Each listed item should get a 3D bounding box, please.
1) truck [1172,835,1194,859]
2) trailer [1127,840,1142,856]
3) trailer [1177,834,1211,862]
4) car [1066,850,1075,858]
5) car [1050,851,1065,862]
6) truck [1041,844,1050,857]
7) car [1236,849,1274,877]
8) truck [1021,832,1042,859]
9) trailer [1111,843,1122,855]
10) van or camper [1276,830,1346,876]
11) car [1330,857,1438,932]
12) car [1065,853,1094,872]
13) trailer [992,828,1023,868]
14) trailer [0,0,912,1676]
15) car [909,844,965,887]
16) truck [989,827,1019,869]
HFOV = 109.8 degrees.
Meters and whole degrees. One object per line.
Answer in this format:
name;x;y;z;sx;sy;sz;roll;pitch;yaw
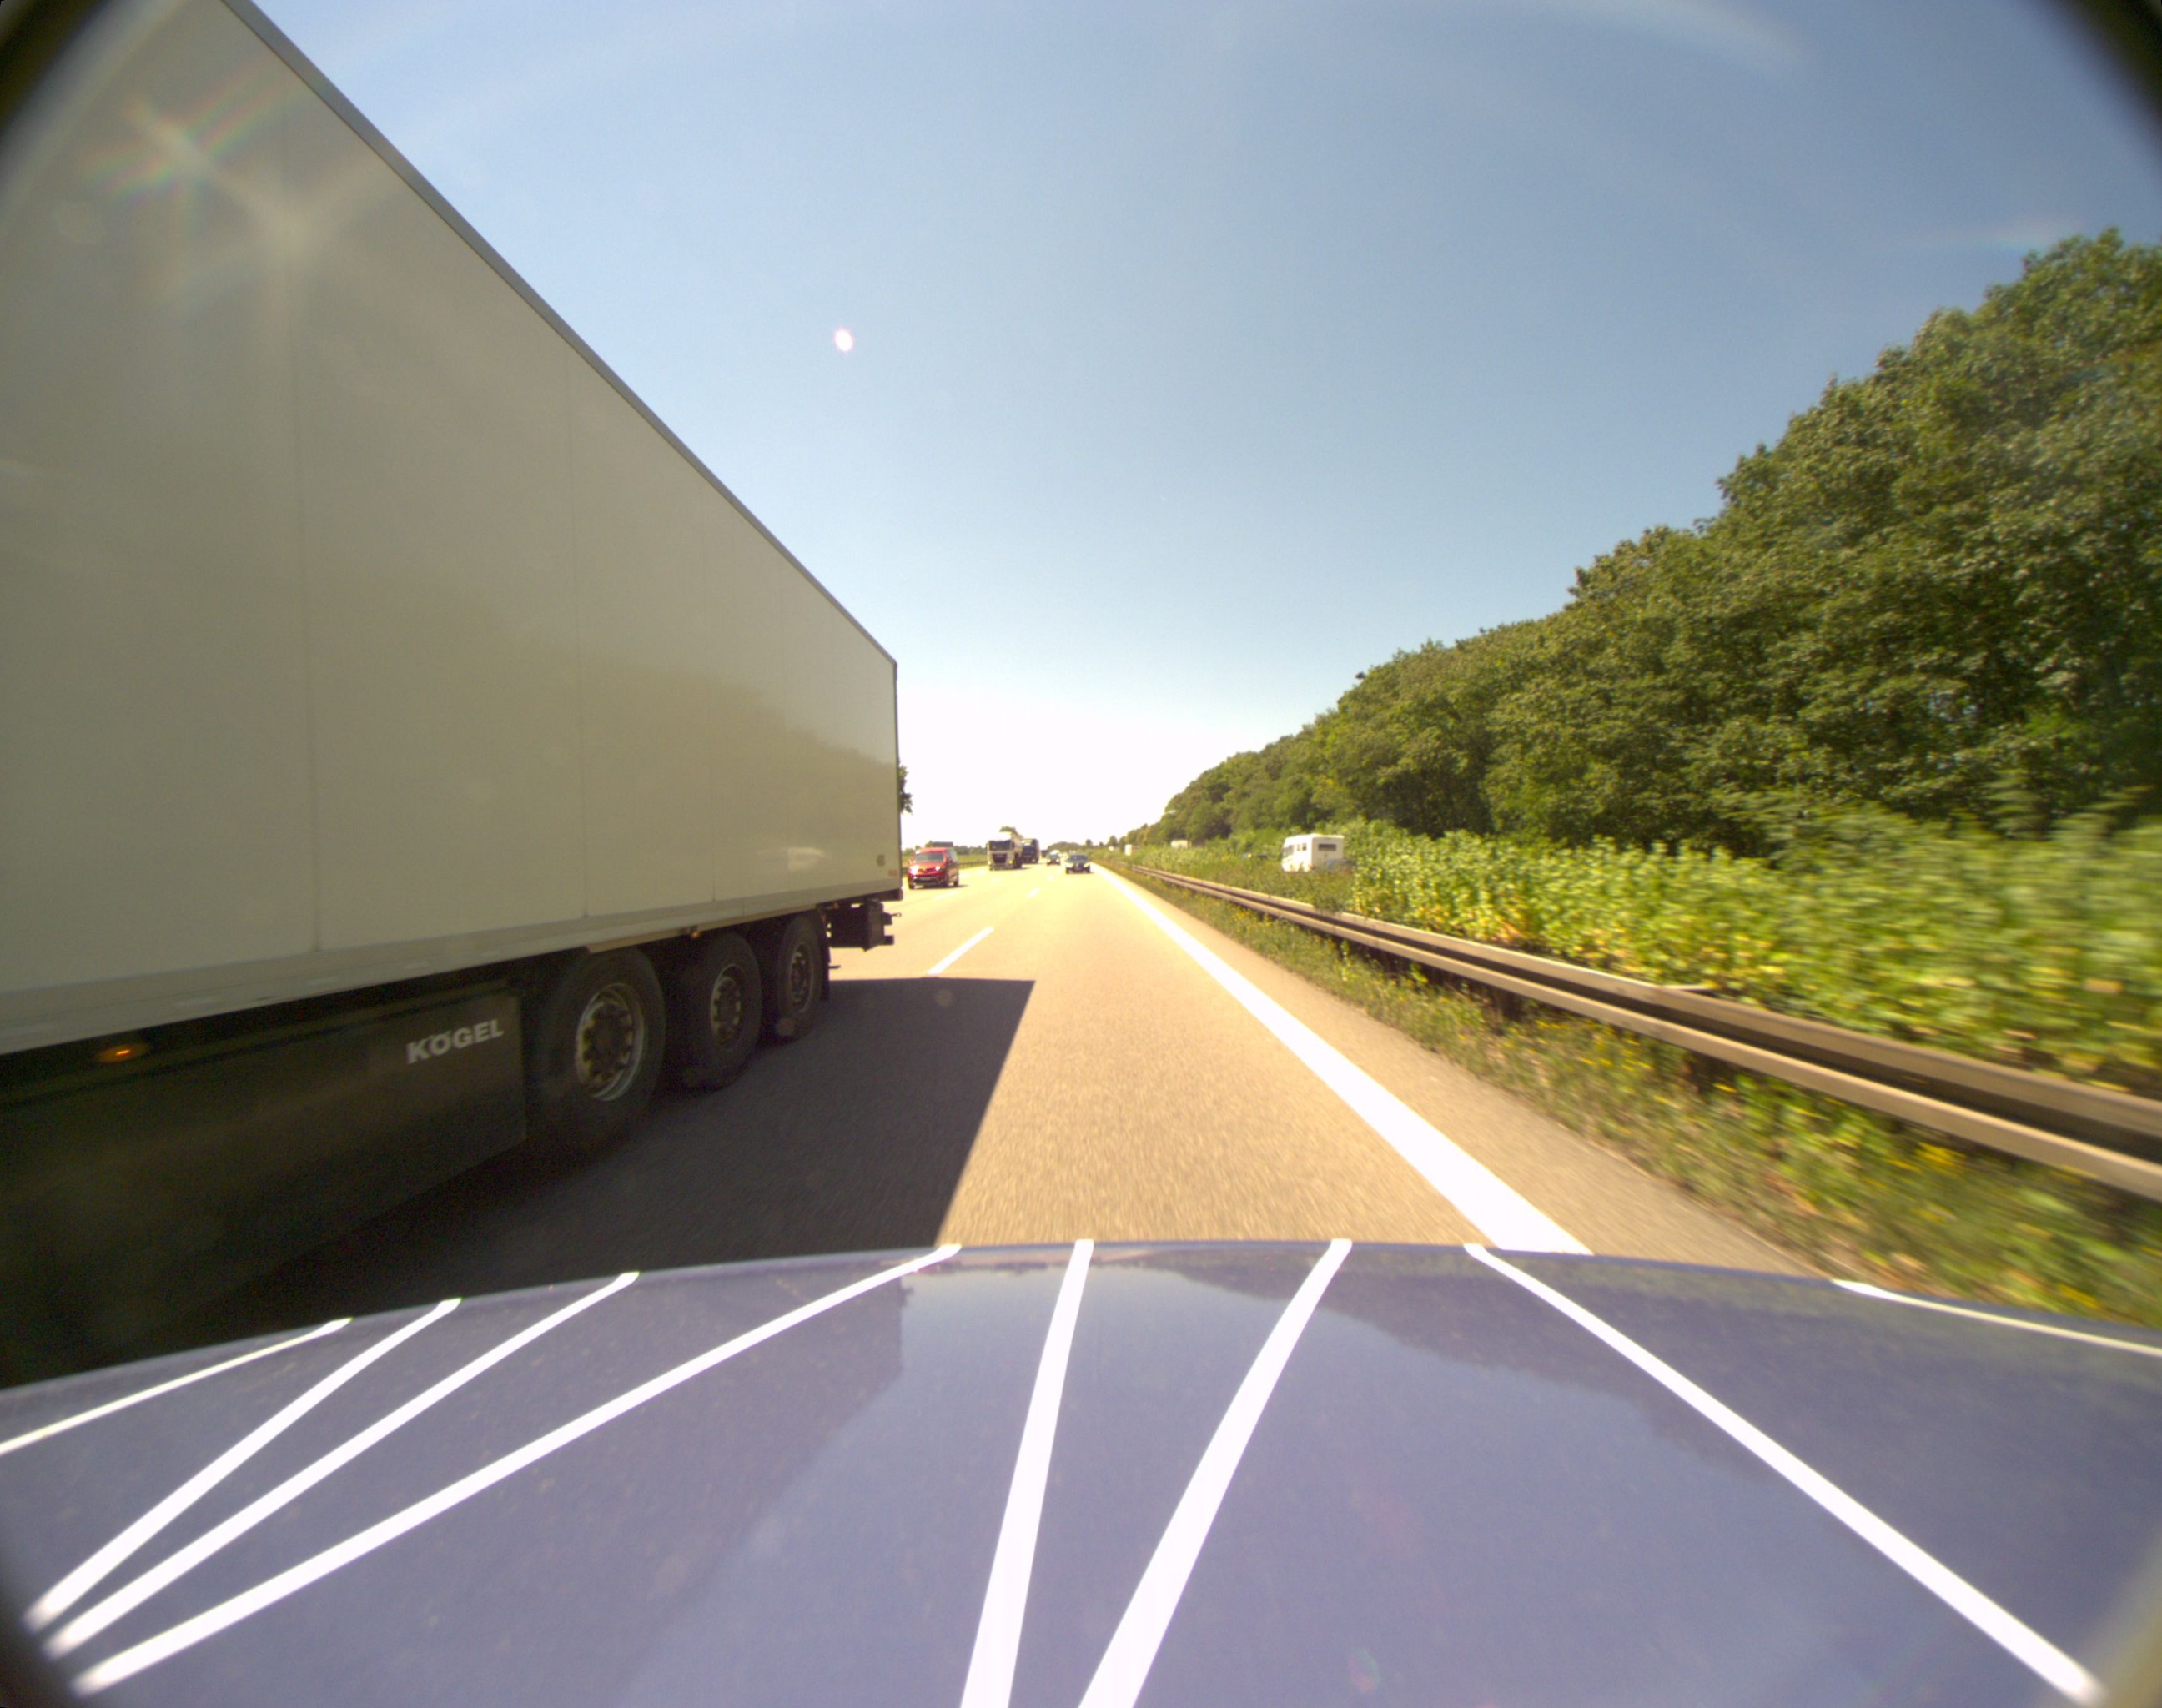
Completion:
truck;16.599;-1.198;123.377;2.789;3.801;4.883;-1;1;-1
trailer;14.426;-1.550;204.151;2.928;4.026;12.913;-1;0;-1
trailer;16.675;-0.876;113.166;2.917;3.855;13.640;-1;0;-1
car;-2.559;-0.052;183.762;1.999;2.002;3.999;-1;0;-3
car;-3.102;0.307;99.892;1.841;1.409;4.495;-1;0;-4
truck;-12.301;-1.167;262.814;2.798;4.180;10.802;-1;0;-4
car;13.013;0.650;56.969;1.998;2.002;4.000;0;1;1
truck;-7.880;-1.317;121.812;2.798;4.180;10.804;-1;0;-1
trailer;12.627;-1.682;271.617;2.842;4.011;12.911;1;0;-1
van or camper;16.701;-0.076;55.936;2.426;3.094;9.086;-1;0;0
car;9.452;1.186;24.058;1.689;2.002;4.000;5;1;1
car;-0.160;0.585;57.536;1.887;1.341;4.466;-1;0;-4
trailer;-8.296;-0.640;86.990;2.798;4.180;12.349;-1;0;-2
trailer;-3.844;-0.364;3.571;3.232;4.119;12.350;-1;0;0
car;-7.246;0.541;38.793;1.860;1.991;5.521;-2;0;-1
truck;-8.007;-0.633;79.551;2.798;4.180;4.998;-1;0;-2
